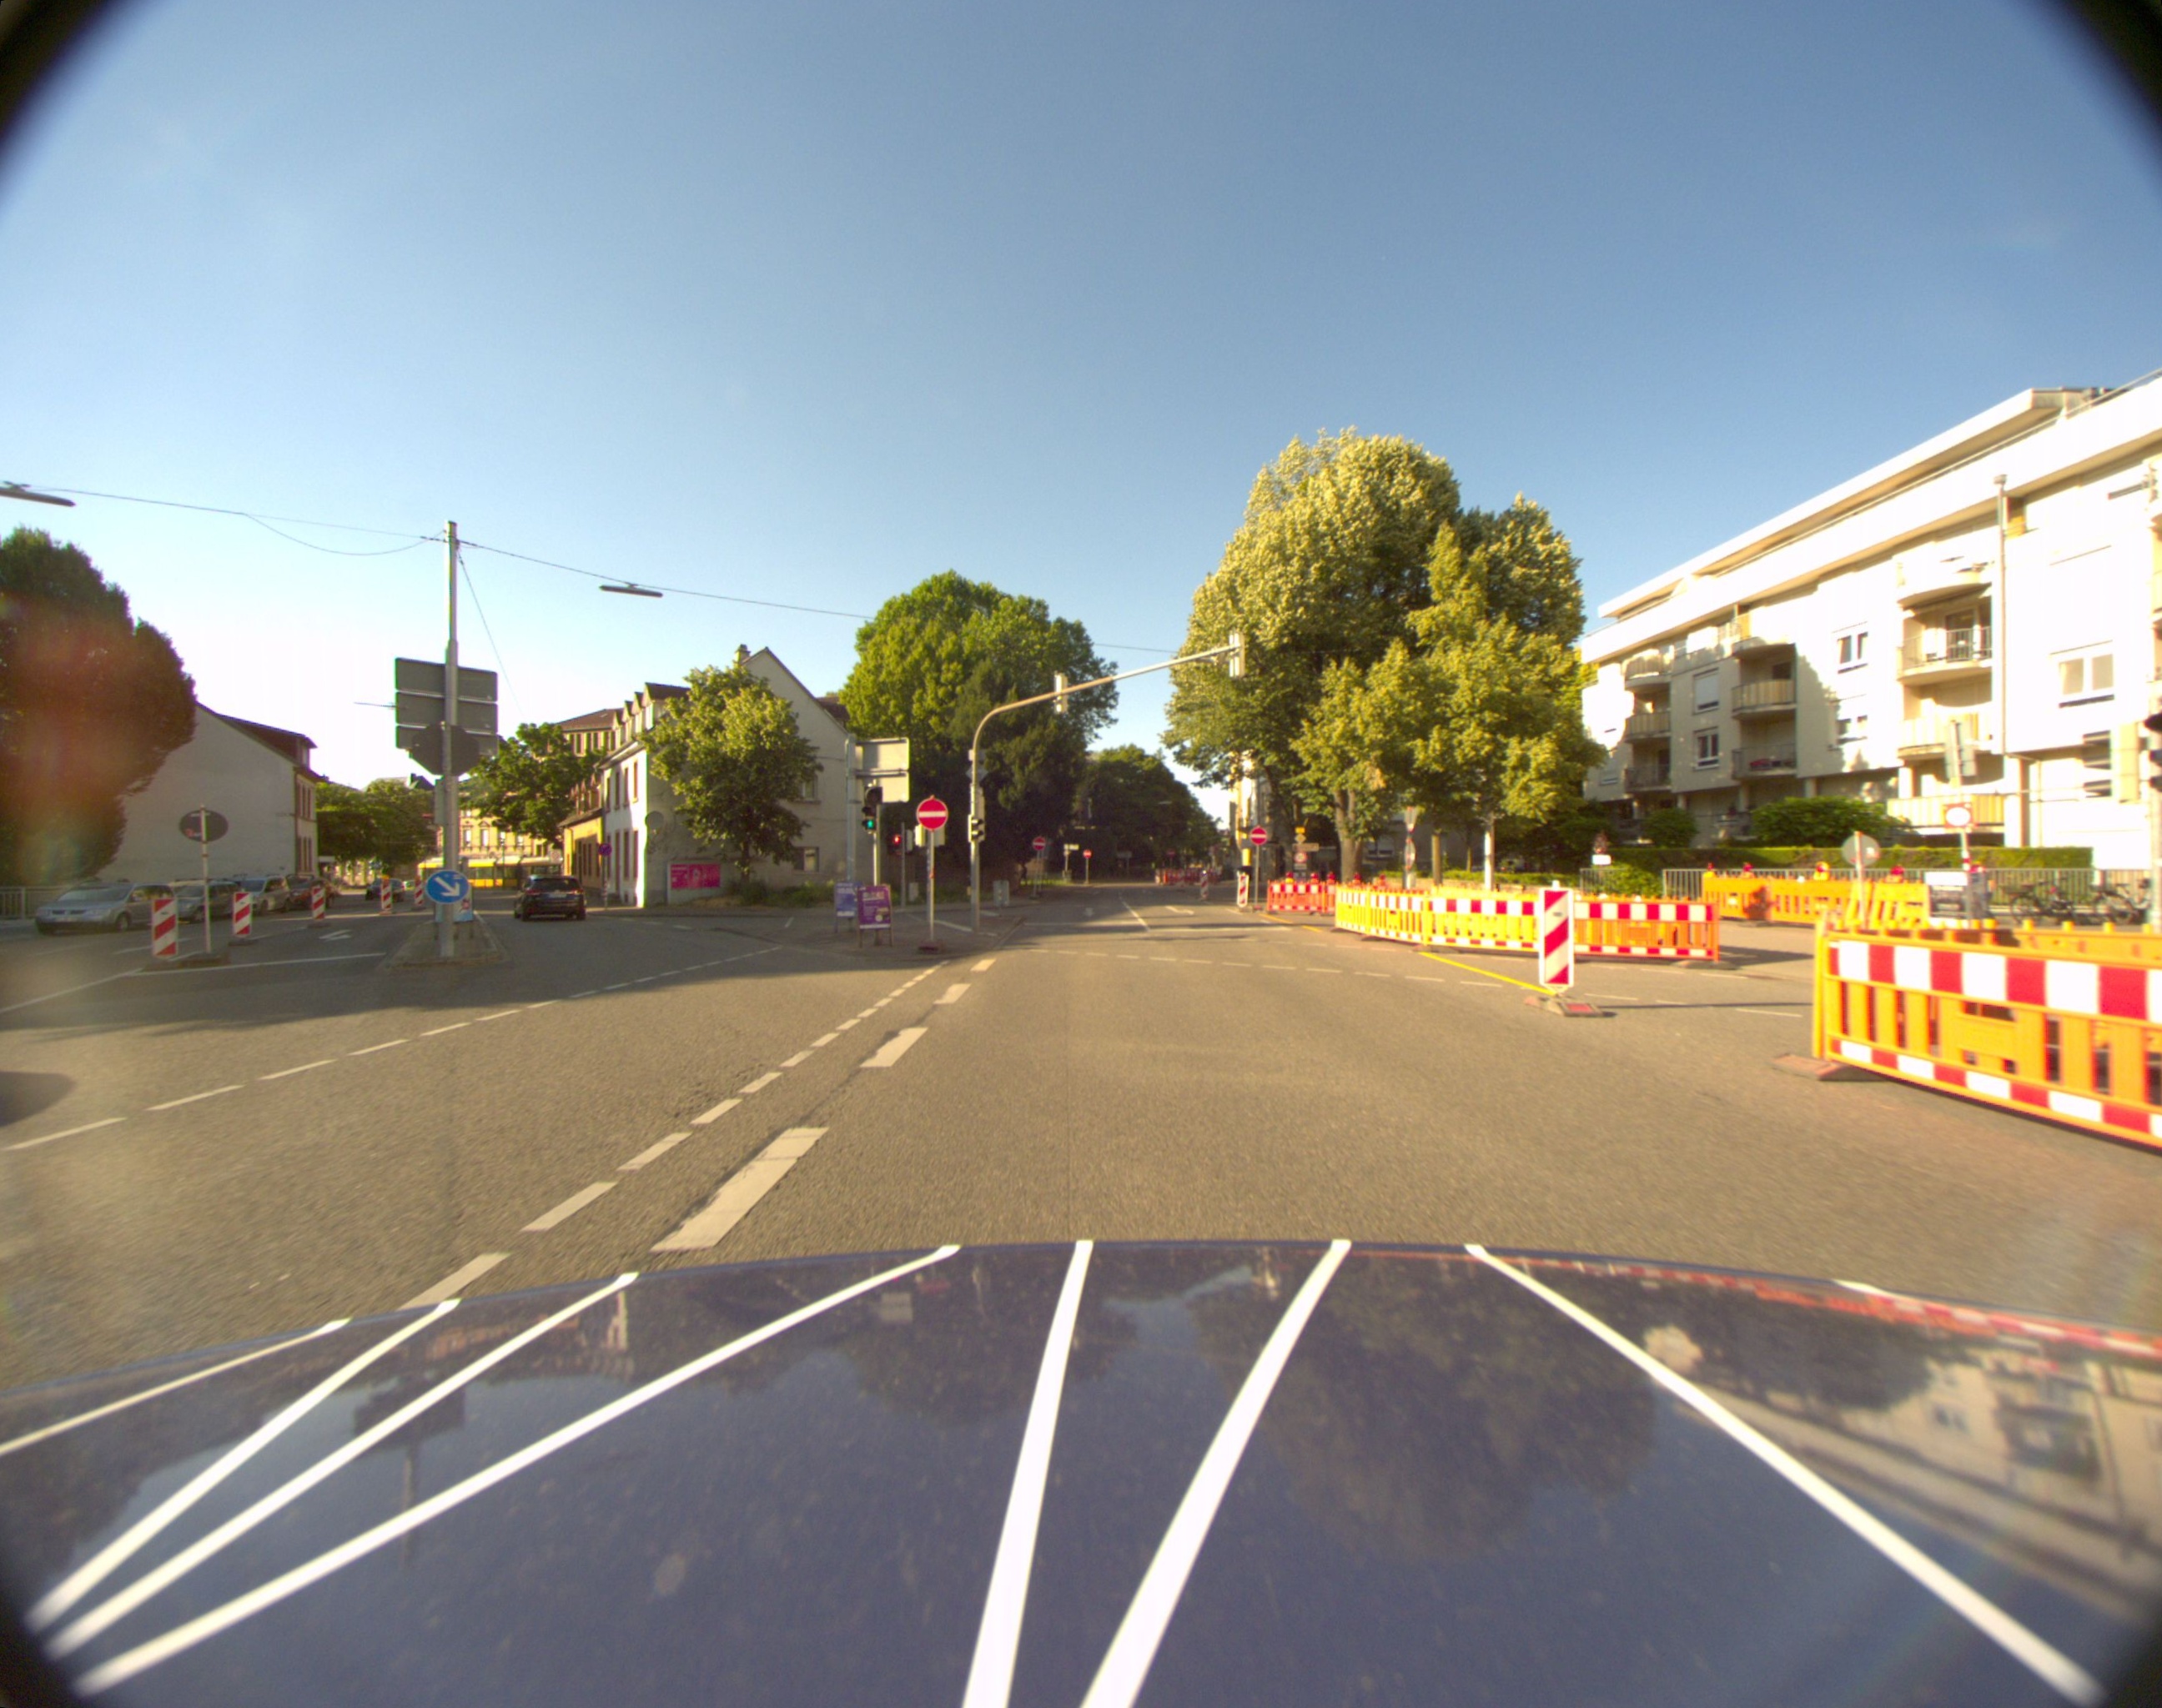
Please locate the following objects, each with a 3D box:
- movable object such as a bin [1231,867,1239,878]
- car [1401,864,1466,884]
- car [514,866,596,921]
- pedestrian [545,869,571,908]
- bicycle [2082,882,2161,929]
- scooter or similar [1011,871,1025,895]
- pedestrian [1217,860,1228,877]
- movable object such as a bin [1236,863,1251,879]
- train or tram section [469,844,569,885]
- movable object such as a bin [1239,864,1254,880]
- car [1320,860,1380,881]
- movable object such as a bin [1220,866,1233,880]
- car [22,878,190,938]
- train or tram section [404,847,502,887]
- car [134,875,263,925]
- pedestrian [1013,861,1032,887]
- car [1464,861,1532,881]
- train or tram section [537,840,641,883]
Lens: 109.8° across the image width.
[{"bbox_3d":[14.968,1.780,73.747,0.637,1.035,0.764,-2,-1,5],"label":"movable object such as a bin"},{"bbox_3d":[26.729,1.526,57.697,3.995,1.477,2.001,0,-1,5],"label":"car"},{"bbox_3d":[-18.771,1.391,27.021,2.005,1.804,4.240,3,-3,-39],"label":"car"},{"bbox_3d":[-25.061,1.651,36.431,0.959,1.827,1.286,-1,-1,-34],"label":"pedestrian"},{"bbox_3d":[24.121,1.157,17.228,2.032,1.020,0.385,-2,0,7],"label":"bicycle"},{"bbox_3d":[-3.270,1.485,39.391,0.439,1.195,1.259,2,0,6],"label":"scooter or similar"},{"bbox_3d":[13.919,1.423,74.893,0.823,1.594,0.917,-2,-1,-3],"label":"pedestrian"},{"bbox_3d":[15.233,1.614,71.189,1.085,1.422,1.407,-2,-1,0],"label":"movable object such as a bin"},{"bbox_3d":[-53.004,0.993,71.634,9.248,3.498,2.802,-2,-1,20],"label":"train or tram section"},{"bbox_3d":[15.119,1.636,69.454,1.085,1.422,1.346,-2,-1,0],"label":"movable object such as a bin"},{"bbox_3d":[20.788,1.290,58.815,3.995,1.542,2.001,0,-1,5],"label":"car"},{"bbox_3d":[15.087,1.926,78.634,1.083,1.422,1.409,-2,-1,20],"label":"movable object such as a bin"},{"bbox_3d":[-32.655,1.733,25.648,2.003,1.769,4.219,-1,-1,-30],"label":"car"},{"bbox_3d":[-61.922,1.271,74.874,9.844,3.580,2.853,-2,-1,20],"label":"train or tram section"},{"bbox_3d":[-34.881,1.776,30.200,2.003,1.769,4.219,-1,-1,-30],"label":"car"},{"bbox_3d":[-4.111,1.417,53.885,1.045,1.770,1.193,-1,0,11],"label":"pedestrian"},{"bbox_3d":[31.345,1.282,57.244,3.995,1.477,2.001,0,-1,5],"label":"car"},{"bbox_3d":[-44.389,0.685,68.456,9.248,3.498,2.802,-2,-1,20],"label":"train or tram section"}]
